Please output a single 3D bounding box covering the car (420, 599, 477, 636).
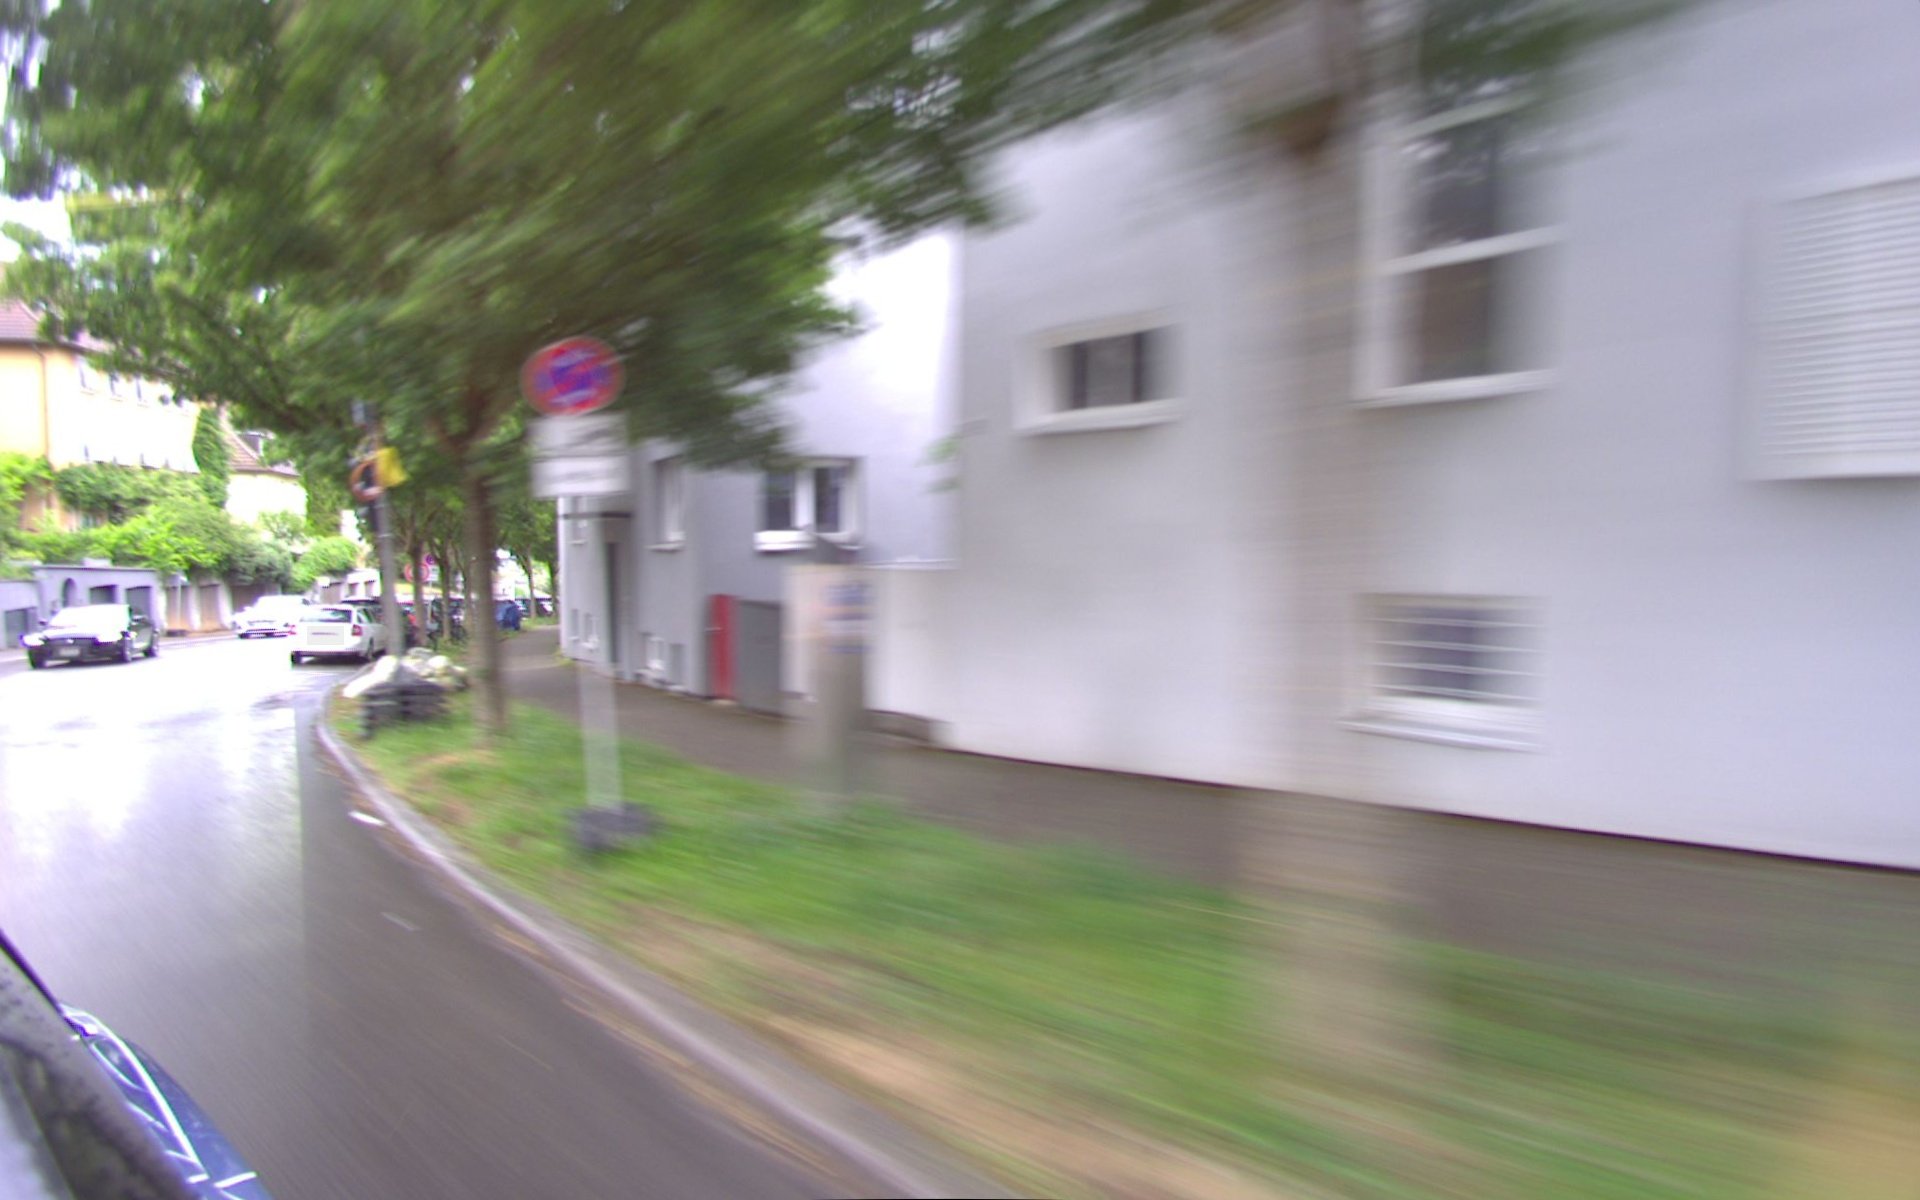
[{"bbox_3d":[-22.485,0.734,44.604,1.534,1.522,3.393,3,-1,-15],"label":"car"}]

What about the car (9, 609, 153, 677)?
[{"bbox_3d":[-21.157,1.028,24.537,1.777,1.500,4.029,2,-2,-29],"label":"car"}]

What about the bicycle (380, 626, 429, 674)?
[{"bbox_3d":[-13.201,1.168,24.093,0.430,1.037,1.910,-1,0,-10],"label":"bicycle"}]

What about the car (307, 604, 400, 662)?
[{"bbox_3d":[-18.234,0.937,30.615,1.658,1.621,4.592,0,0,-22],"label":"car"}]

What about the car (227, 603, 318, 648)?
[{"bbox_3d":[-27.629,0.999,40.838,1.979,1.674,4.460,1,0,-20],"label":"car"}]

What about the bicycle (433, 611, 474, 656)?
[{"bbox_3d":[-14.989,0.979,29.979,0.610,1.261,1.910,-1,0,-12],"label":"bicycle"}]

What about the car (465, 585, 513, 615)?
[{"bbox_3d":[-25.143,0.020,54.105,1.553,1.500,3.478,3,-1,-13],"label":"car"}]

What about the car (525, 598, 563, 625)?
[{"bbox_3d":[-28.858,0.783,70.288,1.572,1.670,3.932,5,0,-11],"label":"car"}]

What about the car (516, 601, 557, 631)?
[{"bbox_3d":[-27.049,1.002,64.747,1.596,1.671,3.934,3,0,-12],"label":"car"}]

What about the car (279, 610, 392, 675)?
[{"bbox_3d":[-16.055,1.035,26.226,1.658,1.520,4.330,1,0,-21],"label":"car"}]
